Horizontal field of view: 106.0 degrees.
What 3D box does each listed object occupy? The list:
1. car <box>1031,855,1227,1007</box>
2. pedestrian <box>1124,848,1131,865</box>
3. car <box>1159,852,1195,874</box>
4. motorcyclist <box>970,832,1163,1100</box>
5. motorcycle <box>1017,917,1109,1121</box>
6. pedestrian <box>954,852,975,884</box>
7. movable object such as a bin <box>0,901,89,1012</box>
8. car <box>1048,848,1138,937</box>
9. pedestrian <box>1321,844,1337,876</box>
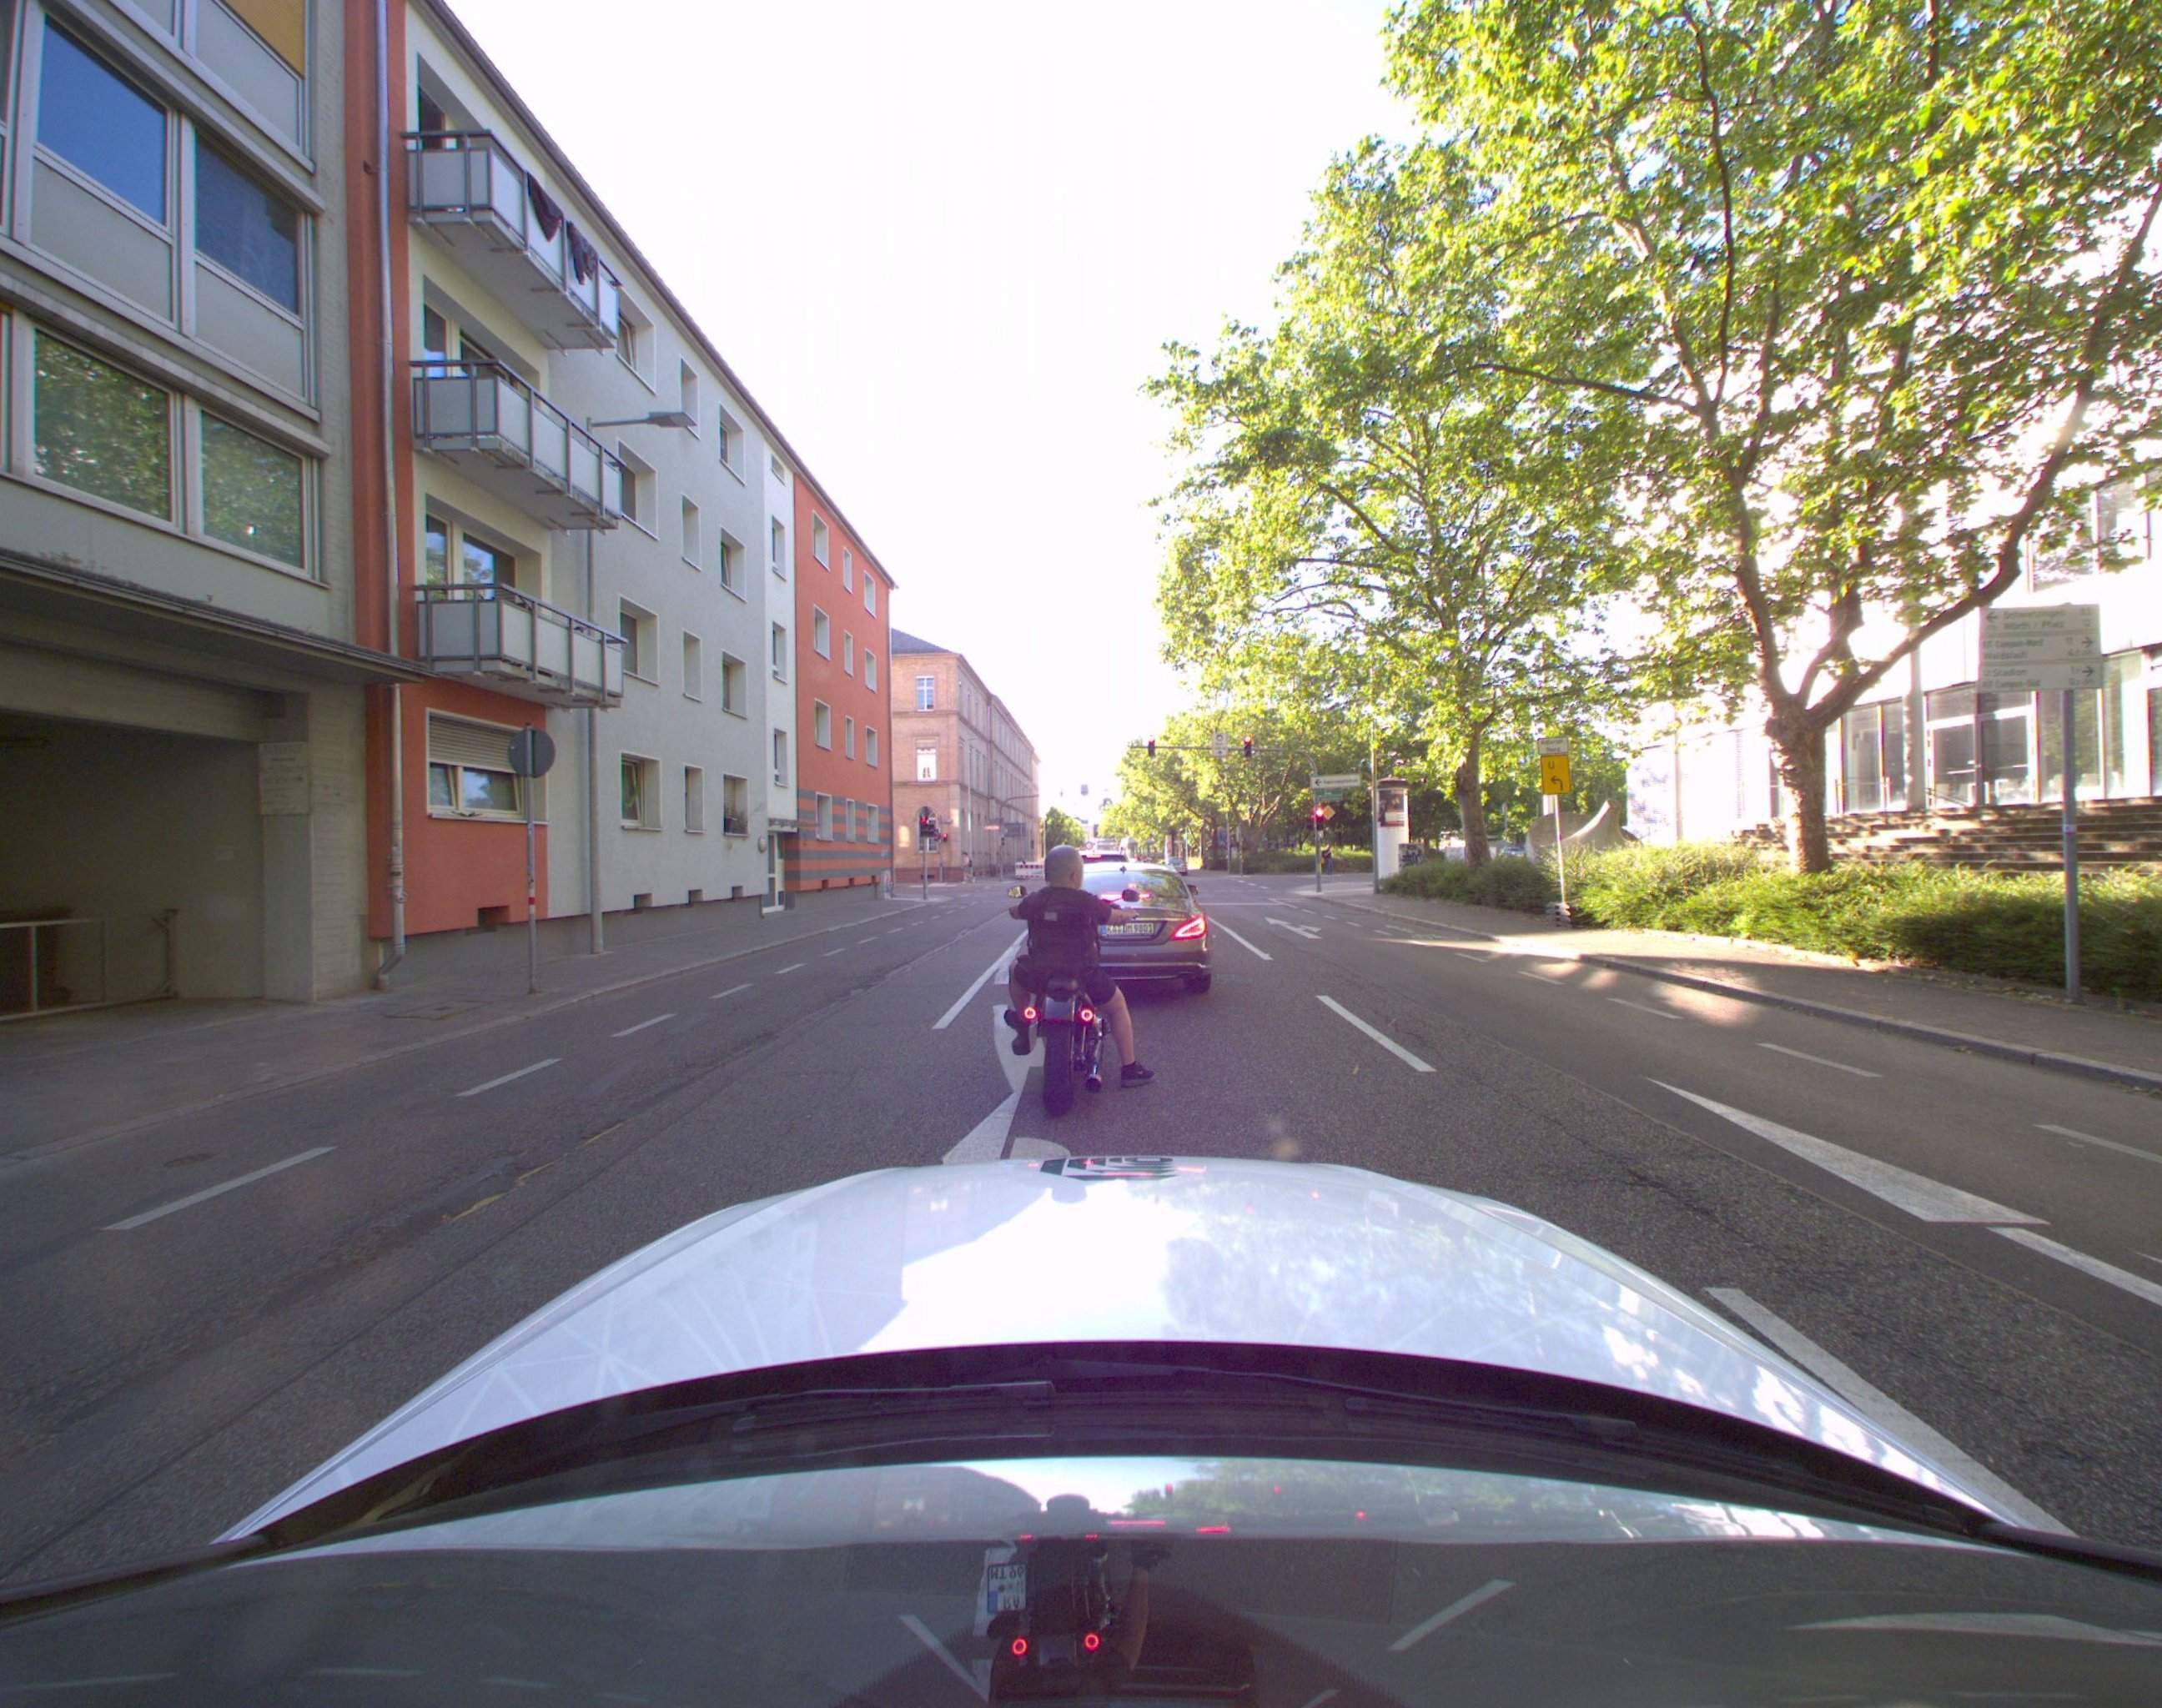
[{"bbox_3d":[0.520,0.742,9.743,1.875,1.449,3.821,0,0,2],"label":"car"},{"bbox_3d":[5.781,0.288,100.952,0.761,2.051,0.712,0,-1,1],"label":"pedestrian"},{"bbox_3d":[7.242,0.659,62.013,1.850,1.575,4.126,0,-1,-6],"label":"car"},{"bbox_3d":[-0.066,0.674,5.523,1.145,1.598,1.288,0,-1,1],"label":"motorcyclist"},{"bbox_3d":[-0.070,1.007,5.591,0.511,1.002,2.014,0,-1,2],"label":"motorcycle"},{"bbox_3d":[-6.896,0.832,48.221,1.005,1.826,1.069,0,-1,-19],"label":"pedestrian"},{"bbox_3d":[-11.254,1.067,8.647,0.626,1.100,0.659,0,-1,4],"label":"movable object such as a bin"},{"bbox_3d":[0.279,0.696,16.871,1.615,1.594,4.002,-1,0,2],"label":"car"},{"bbox_3d":[15.372,0.375,50.494,0.916,1.910,0.755,-1,-1,14],"label":"pedestrian"}]
